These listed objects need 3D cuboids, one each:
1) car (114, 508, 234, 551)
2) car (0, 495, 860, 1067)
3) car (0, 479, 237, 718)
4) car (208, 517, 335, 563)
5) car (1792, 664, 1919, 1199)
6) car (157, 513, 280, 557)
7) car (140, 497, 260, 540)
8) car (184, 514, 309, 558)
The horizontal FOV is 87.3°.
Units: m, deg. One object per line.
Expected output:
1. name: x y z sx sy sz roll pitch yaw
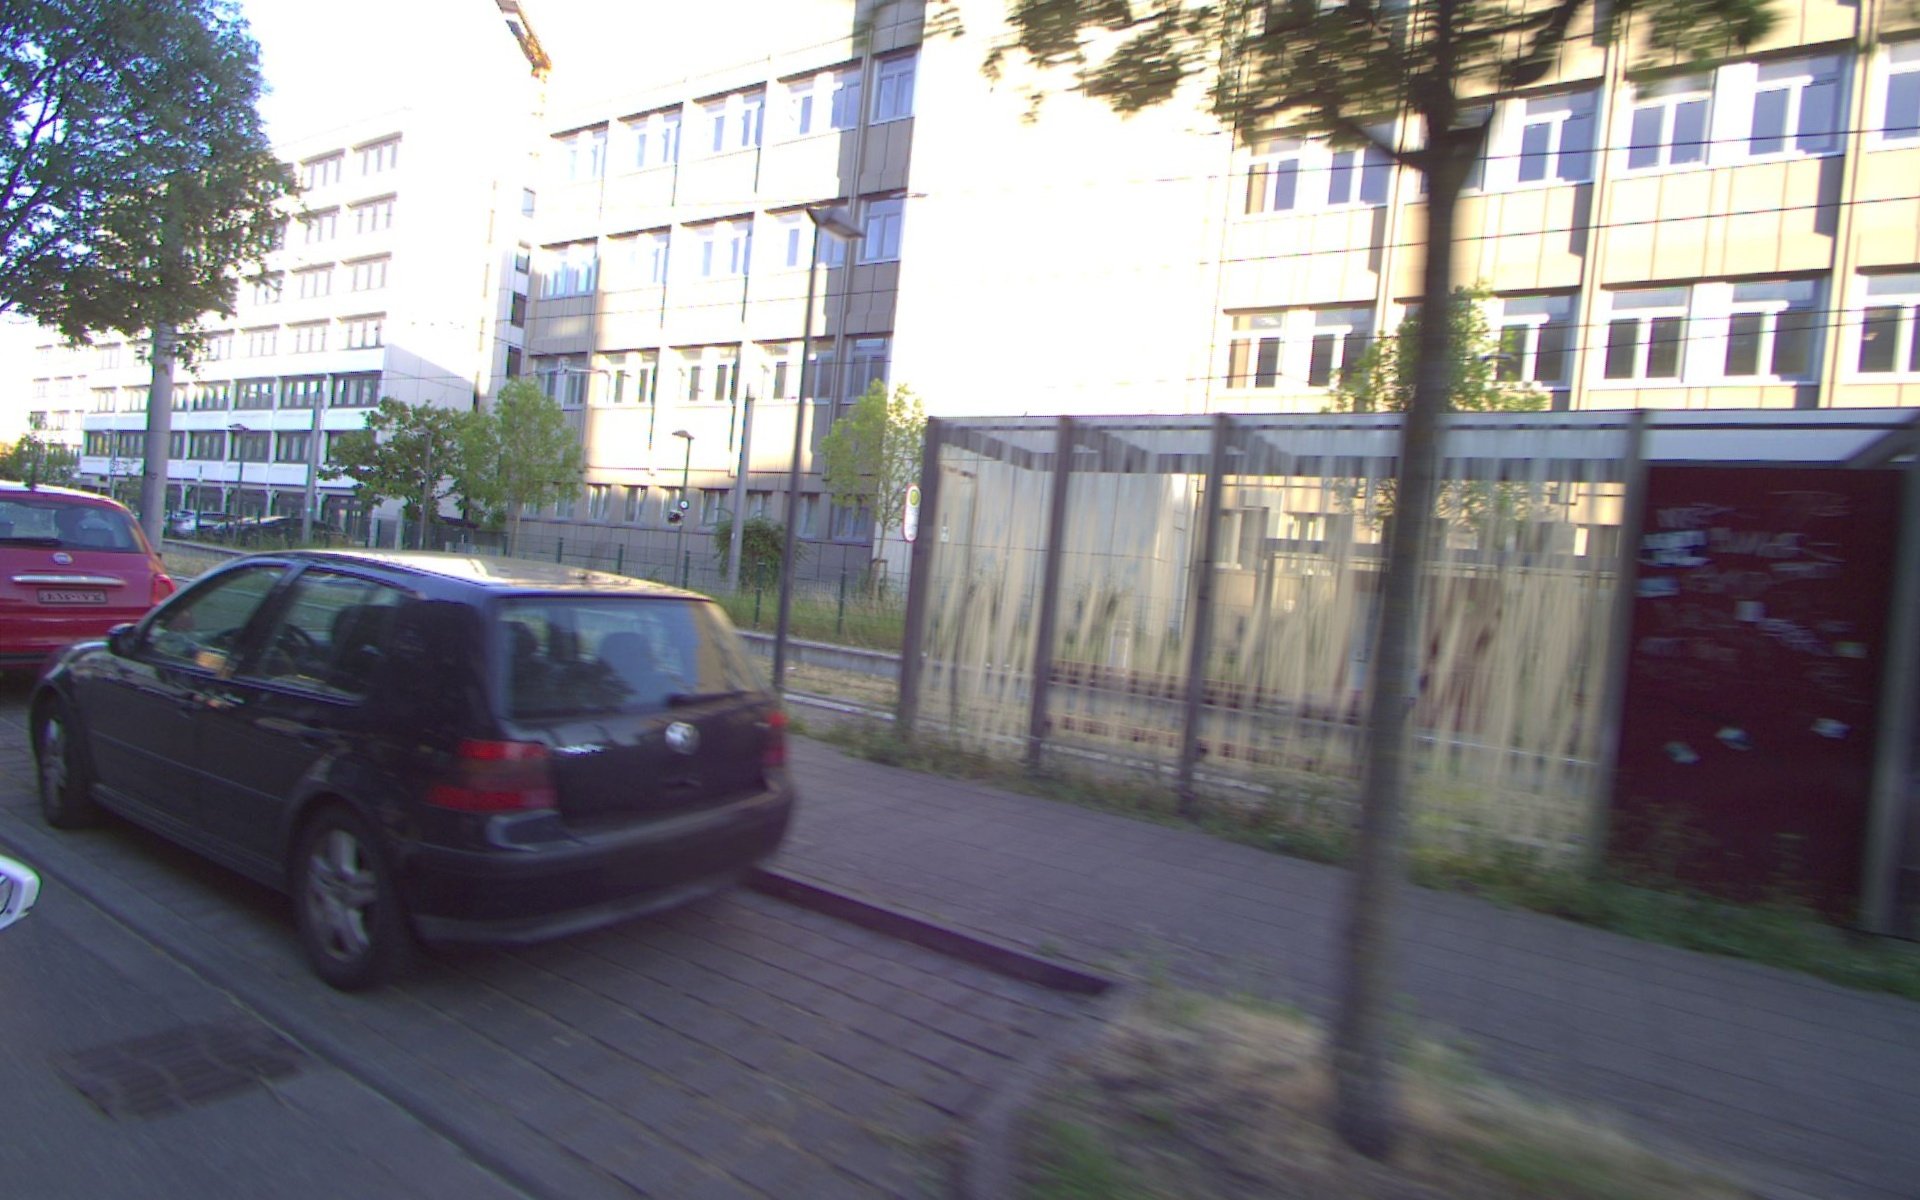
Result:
1. car: -36.686 -3.269 47.058 1.793 1.533 3.989 6 2 30
2. car: -2.591 0.430 4.541 3.933 1.471 1.708 6 2 31
3. car: -7.563 -0.172 7.772 4.062 1.513 1.708 6 2 31
4. car: -28.489 -2.452 41.719 1.648 1.507 3.986 6 2 32
5. car: 3.670 1.124 0.509 4.703 1.517 1.795 6 3 33
6. car: -32.475 -2.835 44.174 1.648 1.507 3.986 6 2 32
7. car: -34.327 -3.657 45.531 1.648 1.507 3.986 6 2 32
8. car: -30.444 -2.707 43.028 1.648 1.507 3.986 6 2 32
